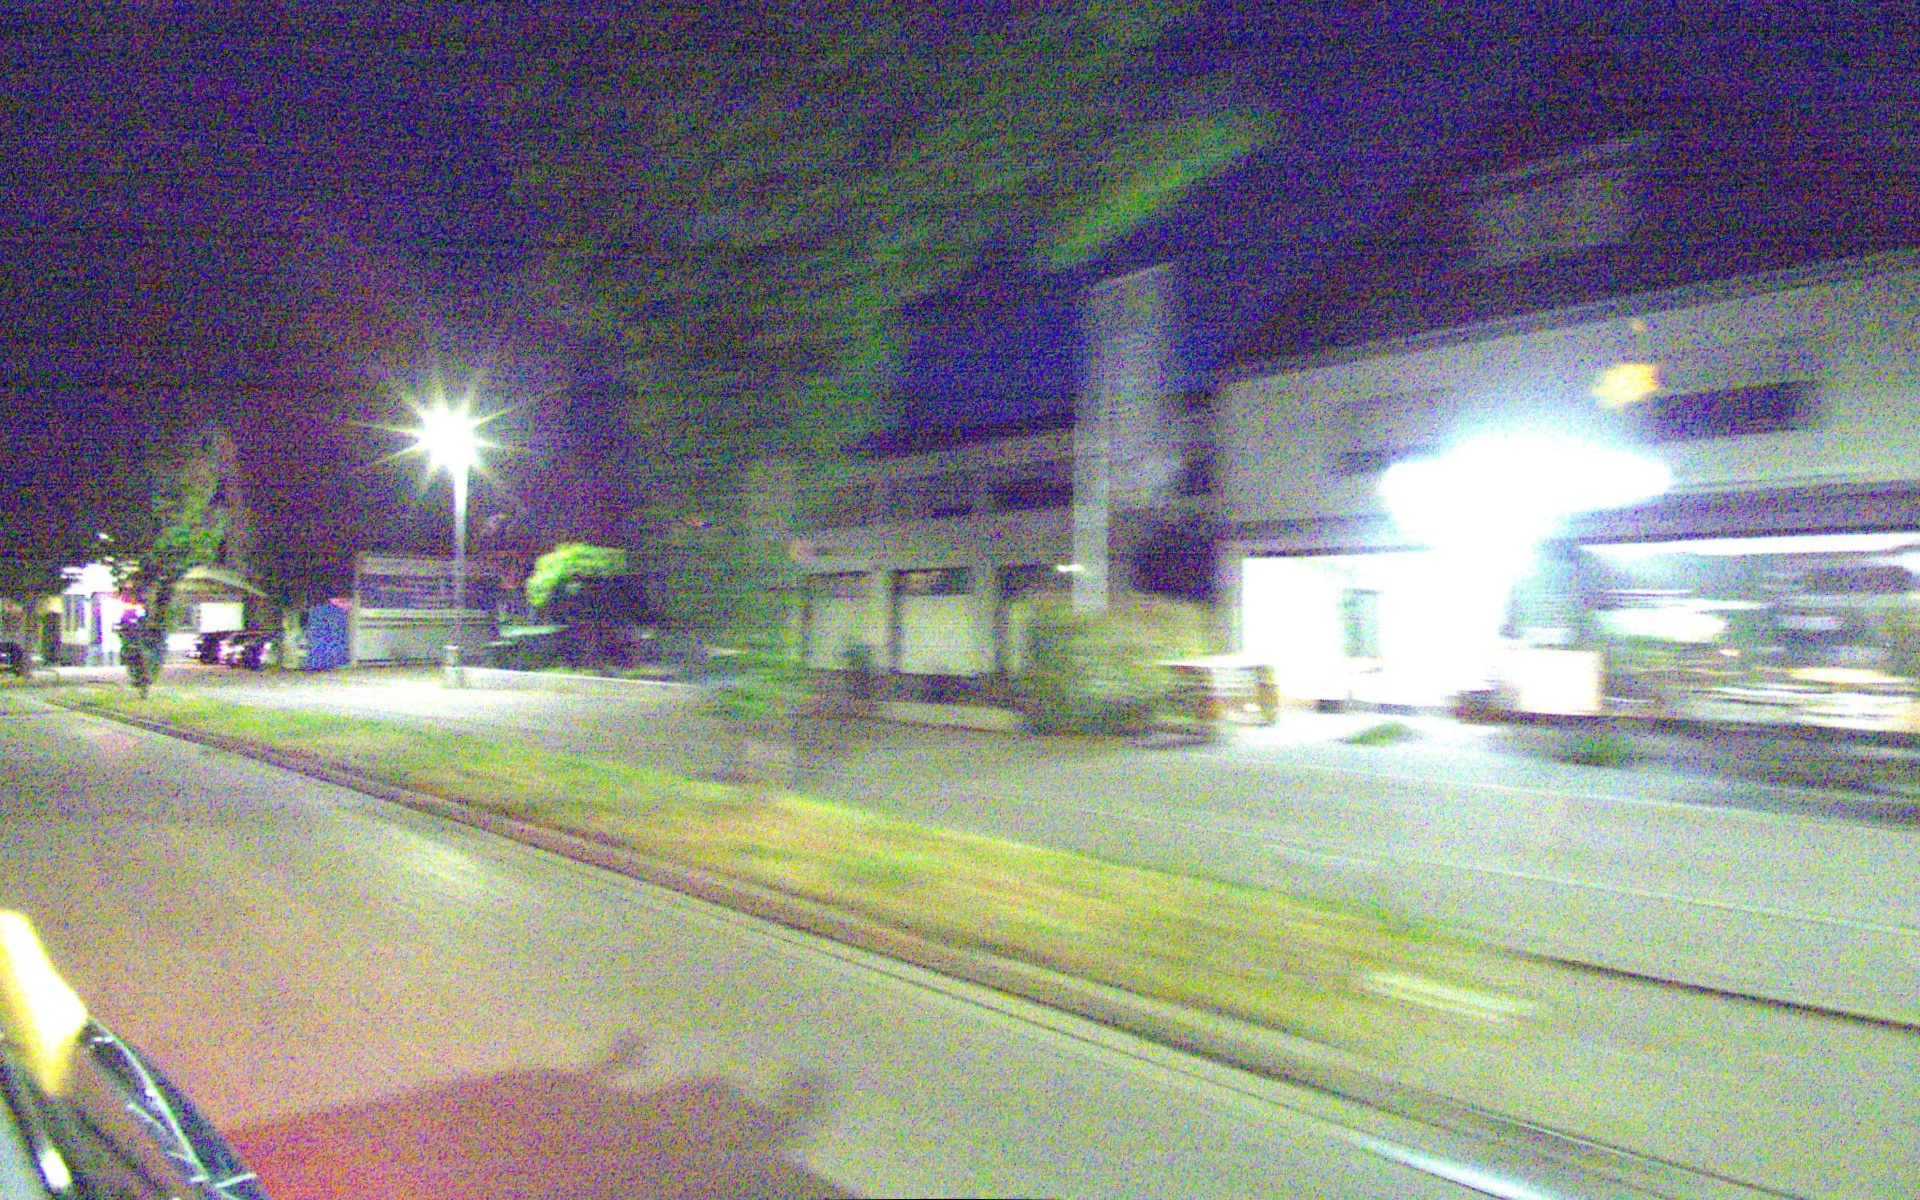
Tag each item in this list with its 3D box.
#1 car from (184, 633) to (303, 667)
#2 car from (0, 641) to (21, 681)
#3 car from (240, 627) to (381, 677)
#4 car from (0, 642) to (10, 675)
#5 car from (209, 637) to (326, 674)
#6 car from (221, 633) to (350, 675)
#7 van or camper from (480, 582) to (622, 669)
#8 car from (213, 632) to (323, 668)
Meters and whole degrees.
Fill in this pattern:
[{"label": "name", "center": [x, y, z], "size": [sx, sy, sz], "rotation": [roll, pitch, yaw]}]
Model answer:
[{"label": "car", "center": [-34.526, 2.381, 48.870], "size": [2.024, 1.573, 4.275], "rotation": [-2, -3, 34]}, {"label": "car", "center": [-37.349, 2.330, 38.662], "size": [4.006, 1.480, 1.731], "rotation": [-2, -3, 41]}, {"label": "car", "center": [-24.262, 1.983, 37.944], "size": [1.943, 1.716, 3.953], "rotation": [-2, -5, 34]}, {"label": "car", "center": [-44.769, 2.668, 46.068], "size": [3.964, 1.480, 1.752], "rotation": [-2, -4, 41]}, {"label": "car", "center": [-30.440, 2.417, 44.547], "size": [2.000, 1.475, 3.944], "rotation": [-2, -2, 42]}, {"label": "car", "center": [-28.264, 2.294, 42.498], "size": [2.000, 1.675, 4.071], "rotation": [-2, -5, 42]}, {"label": "van or camper", "center": [-14.184, 0.907, 34.911], "size": [5.925, 2.768, 2.053], "rotation": [-2, -2, 41]}, {"label": "car", "center": [-32.330, 2.316, 47.358], "size": [2.001, 1.630, 3.941], "rotation": [-3, -3, 44]}]
